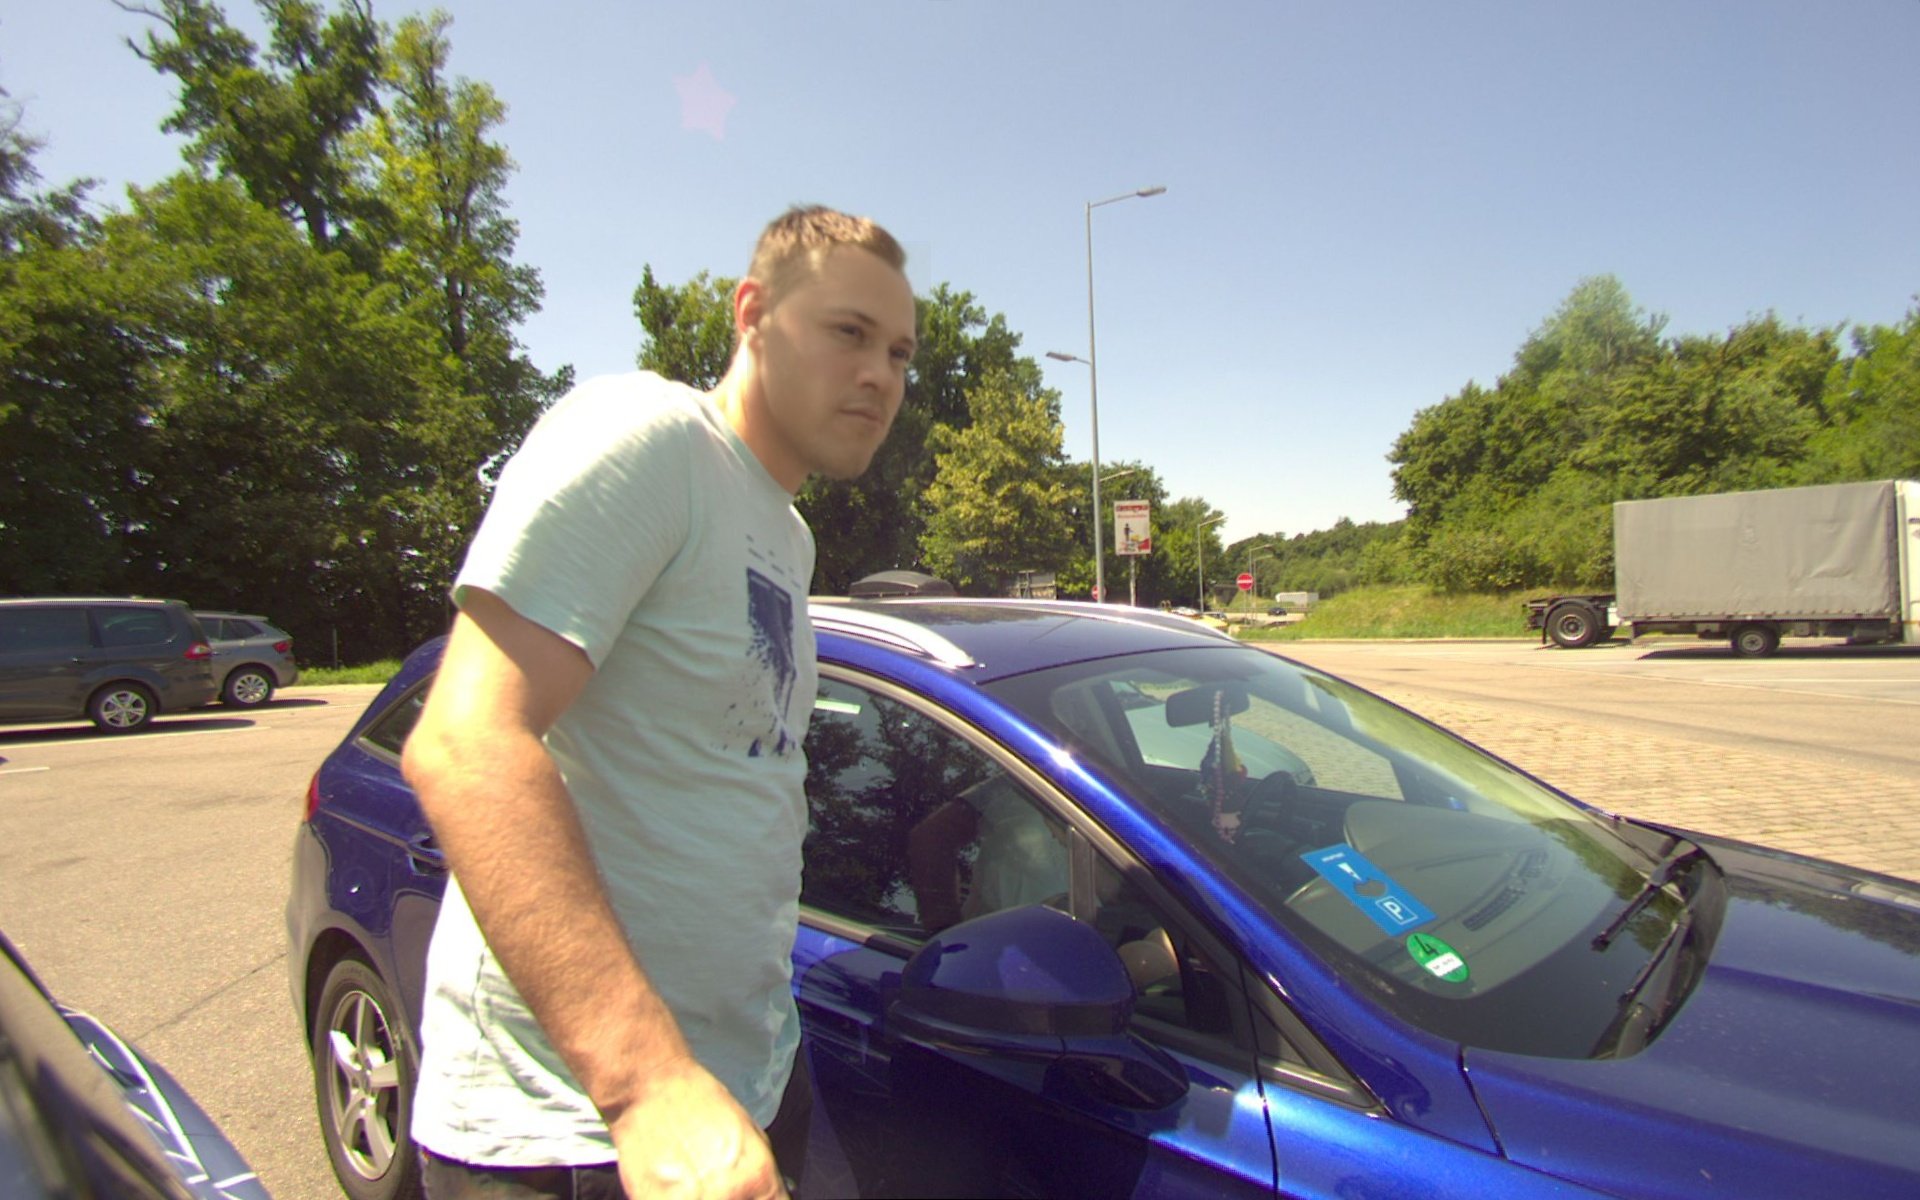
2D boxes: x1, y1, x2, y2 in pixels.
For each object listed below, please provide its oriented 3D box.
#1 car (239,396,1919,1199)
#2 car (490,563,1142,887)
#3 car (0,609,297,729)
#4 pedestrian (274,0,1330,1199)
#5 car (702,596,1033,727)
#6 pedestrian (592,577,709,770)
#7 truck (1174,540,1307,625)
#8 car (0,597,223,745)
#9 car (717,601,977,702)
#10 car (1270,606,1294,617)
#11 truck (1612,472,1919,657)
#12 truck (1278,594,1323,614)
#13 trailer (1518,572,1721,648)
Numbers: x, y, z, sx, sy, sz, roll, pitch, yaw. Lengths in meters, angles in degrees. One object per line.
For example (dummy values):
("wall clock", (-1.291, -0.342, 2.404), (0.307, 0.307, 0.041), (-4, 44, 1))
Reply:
("car", (0.237, 0.638, 2.105), (4.466, 1.476, 1.756), (-3, -1, 40))
("car", (-1.207, 0.638, 6.734), (4.466, 1.476, 1.756), (-3, -1, 40))
("car", (-12.714, 0.981, 15.612), (3.910, 1.598, 1.782), (-1, -1, -43))
("pedestrian", (-0.099, 0.380, 0.875), (0.578, 1.722, 0.678), (-3, -2, 41))
("car", (-1.363, 0.765, 13.537), (4.466, 1.476, 1.756), (-3, -1, 40))
("pedestrian", (-2.747, 0.622, 8.987), (0.759, 1.614, 0.663), (-3, -1, 41))
("truck", (13.152, -0.752, 47.494), (5.782, 3.720, 1.987), (-2, -1, 20))
("car", (-11.685, 0.856, 12.561), (3.910, 1.701, 1.782), (-1, -1, -43))
("car", (-2.015, 0.837, 17.090), (4.466, 1.476, 1.756), (-3, -1, 40))
("car", (57.408, 2.007, 180.525), (1.965, 1.785, 4.013), (-1, -1, -23))
("truck", (16.730, -0.597, 18.856), (7.348, 3.152, 2.339), (-3, -2, 41))
("truck", (70.369, 0.887, 209.646), (3.426, 3.554, 13.567), (-2, -2, -6))
("trailer", (15.777, 0.282, 24.324), (3.900, 1.674, 1.456), (-2, -1, 41))
